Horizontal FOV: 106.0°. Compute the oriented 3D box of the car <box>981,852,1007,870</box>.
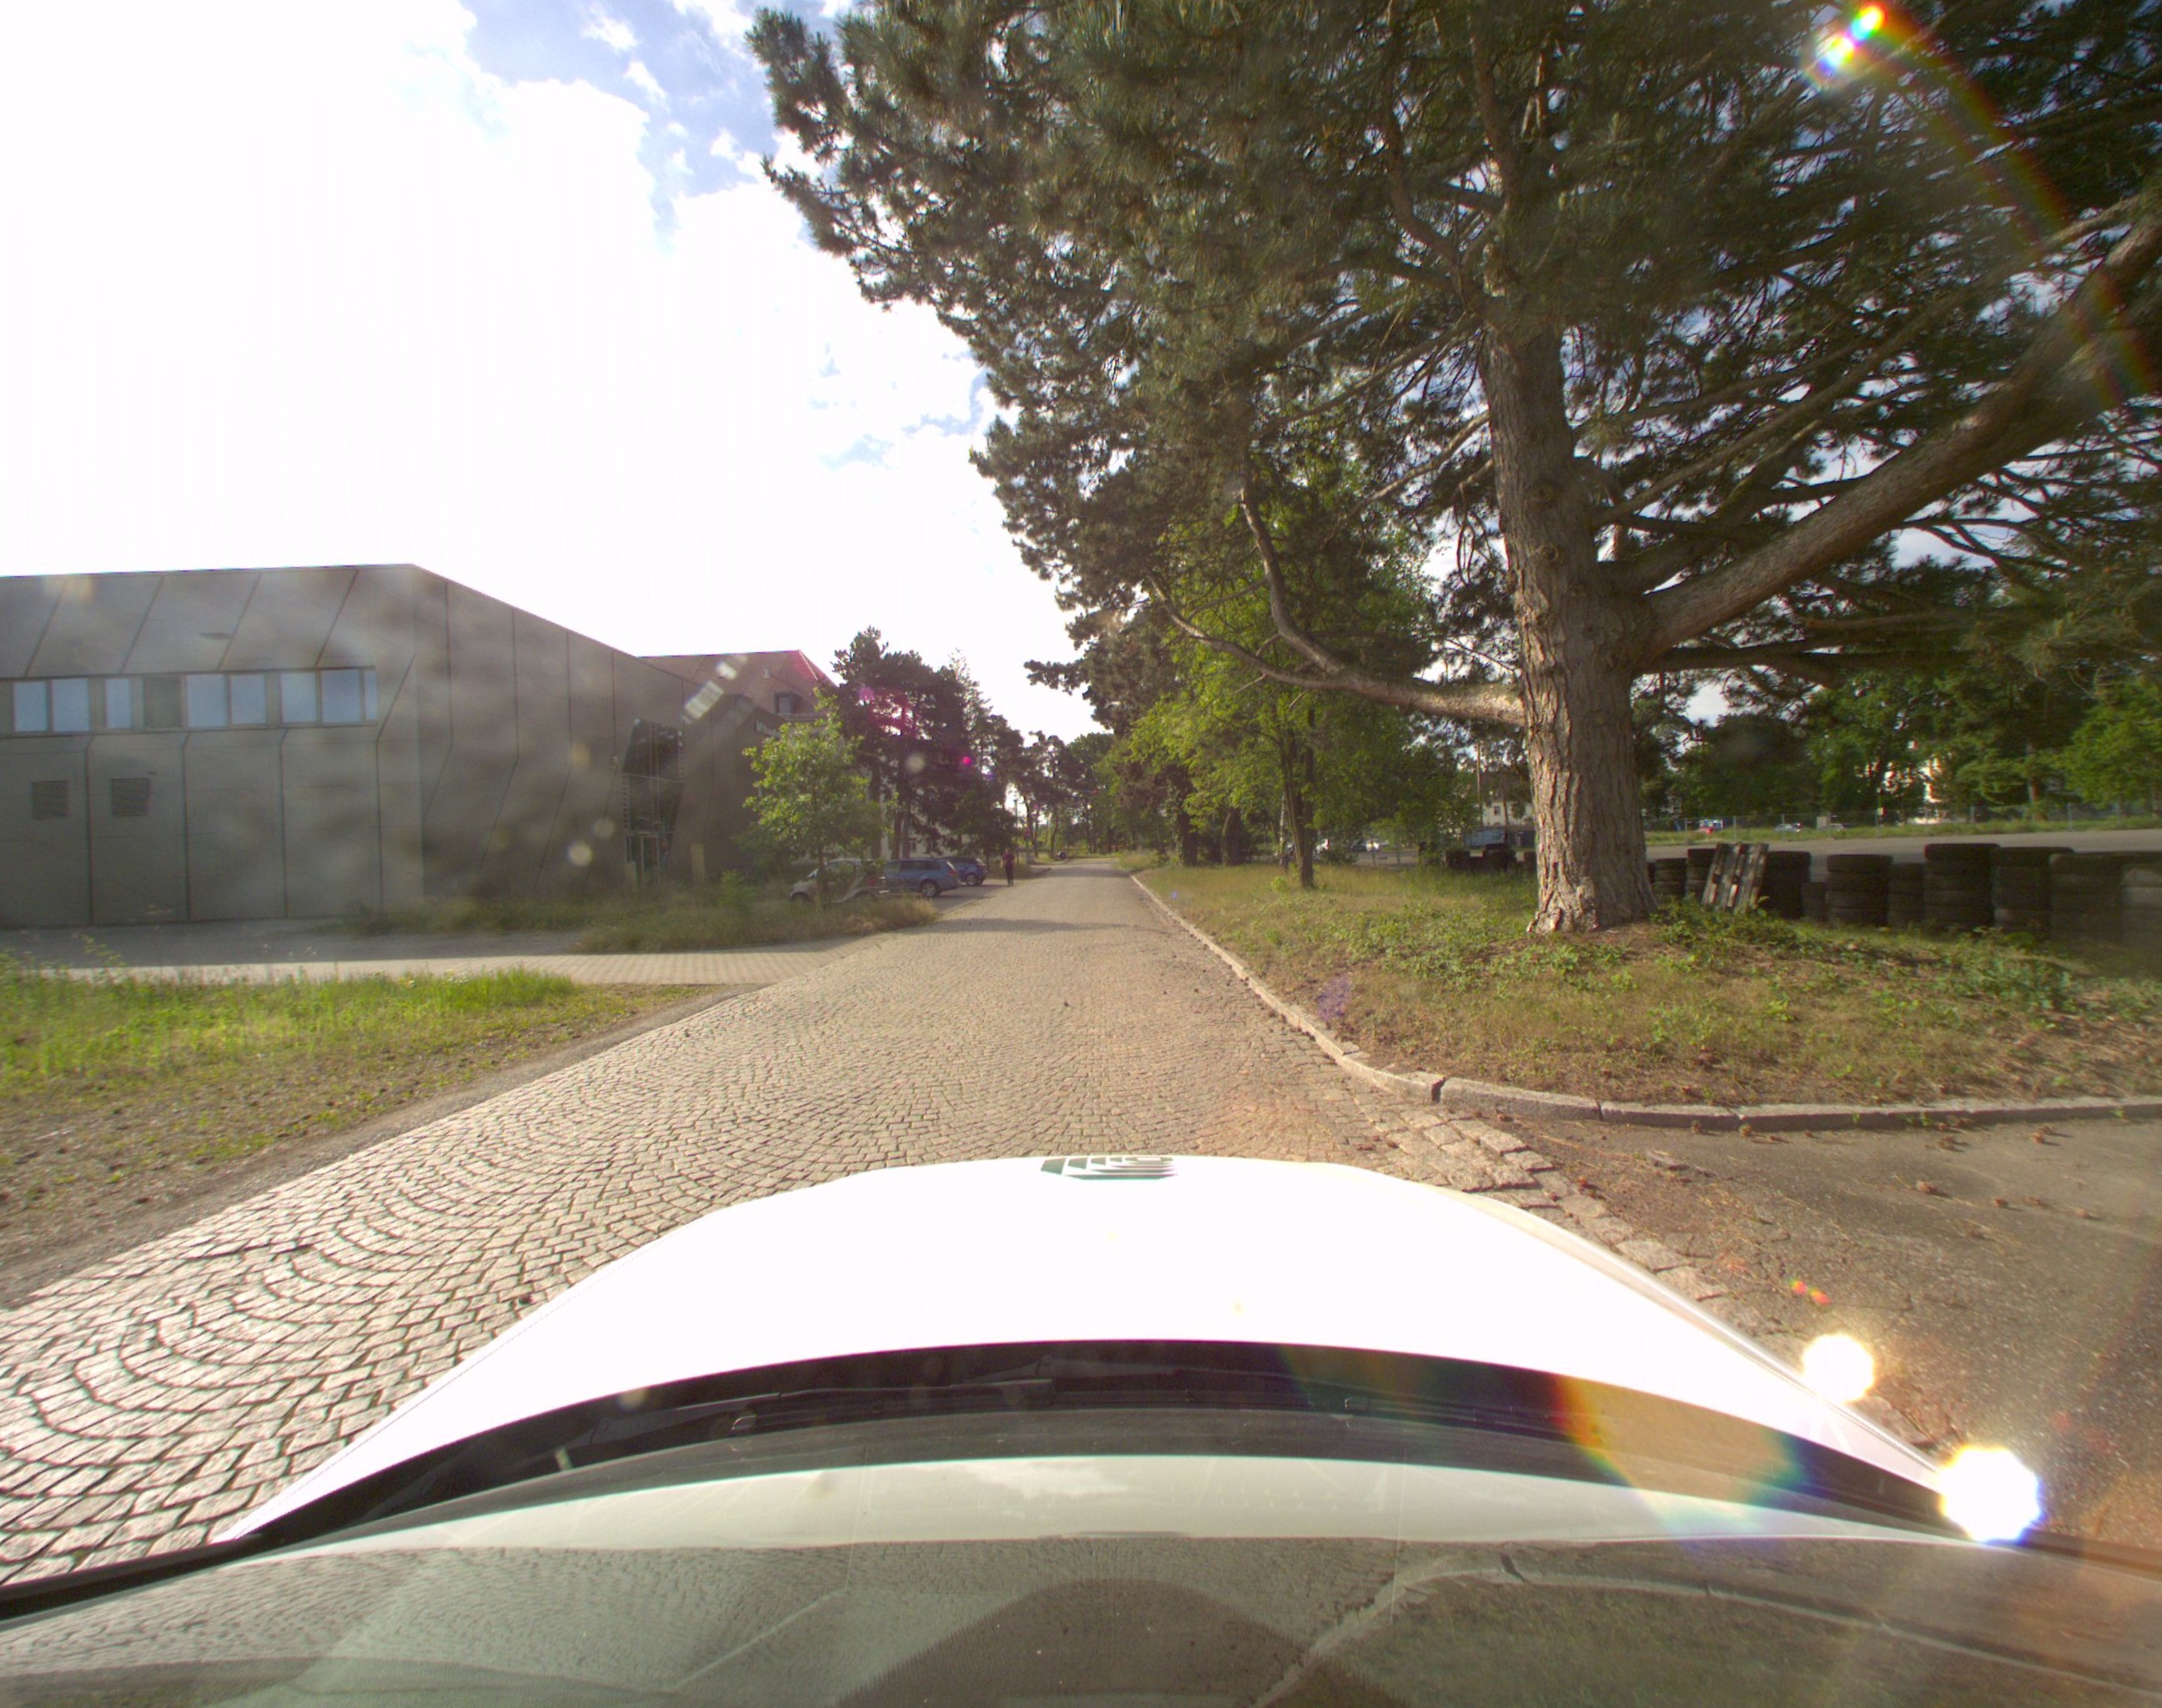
[{"bbox_3d":[-8.465,0.696,79.513,1.986,1.618,4.002,-2,0,2],"label":"car"}]

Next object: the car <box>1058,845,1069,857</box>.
[{"bbox_3d":[-3.076,-0.588,146.601,1.691,2.013,4.002,-2,0,2],"label":"car"}]

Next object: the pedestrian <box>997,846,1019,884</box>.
[{"bbox_3d":[-3.668,0.534,40.911,0.957,1.844,0.951,-2,0,-13],"label":"pedestrian"}]

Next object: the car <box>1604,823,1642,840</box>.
[{"bbox_3d":[62.424,-2.589,93.831,1.983,1.750,4.007,-2,0,6],"label":"car"}]

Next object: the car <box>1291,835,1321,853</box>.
[{"bbox_3d":[22.815,-0.998,82.567,1.986,1.618,4.002,-2,0,2],"label":"car"}]

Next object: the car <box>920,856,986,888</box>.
[{"bbox_3d":[-6.291,0.875,40.348,3.079,1.450,1.489,-2,0,-5],"label":"car"}]

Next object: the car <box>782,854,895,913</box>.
[{"bbox_3d":[-7.013,0.848,23.697,2.747,1.549,1.427,-2,0,5],"label":"car"}]

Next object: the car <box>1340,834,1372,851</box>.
[{"bbox_3d":[28.038,-1.184,83.046,1.986,1.618,4.002,-2,0,2],"label":"car"}]

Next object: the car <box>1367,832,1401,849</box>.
[{"bbox_3d":[30.964,-1.379,83.314,1.986,1.618,4.002,-2,0,2],"label":"car"}]

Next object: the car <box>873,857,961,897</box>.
[{"bbox_3d":[-6.196,0.842,31.011,3.077,1.457,1.490,0,0,-4],"label":"car"}]

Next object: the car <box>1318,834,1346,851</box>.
[{"bbox_3d":[25.507,-1.127,82.791,1.813,1.618,4.004,-2,0,4],"label":"car"}]

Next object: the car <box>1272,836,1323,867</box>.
[{"bbox_3d":[11.956,-0.153,45.268,1.879,1.541,4.003,-2,0,2],"label":"car"}]
